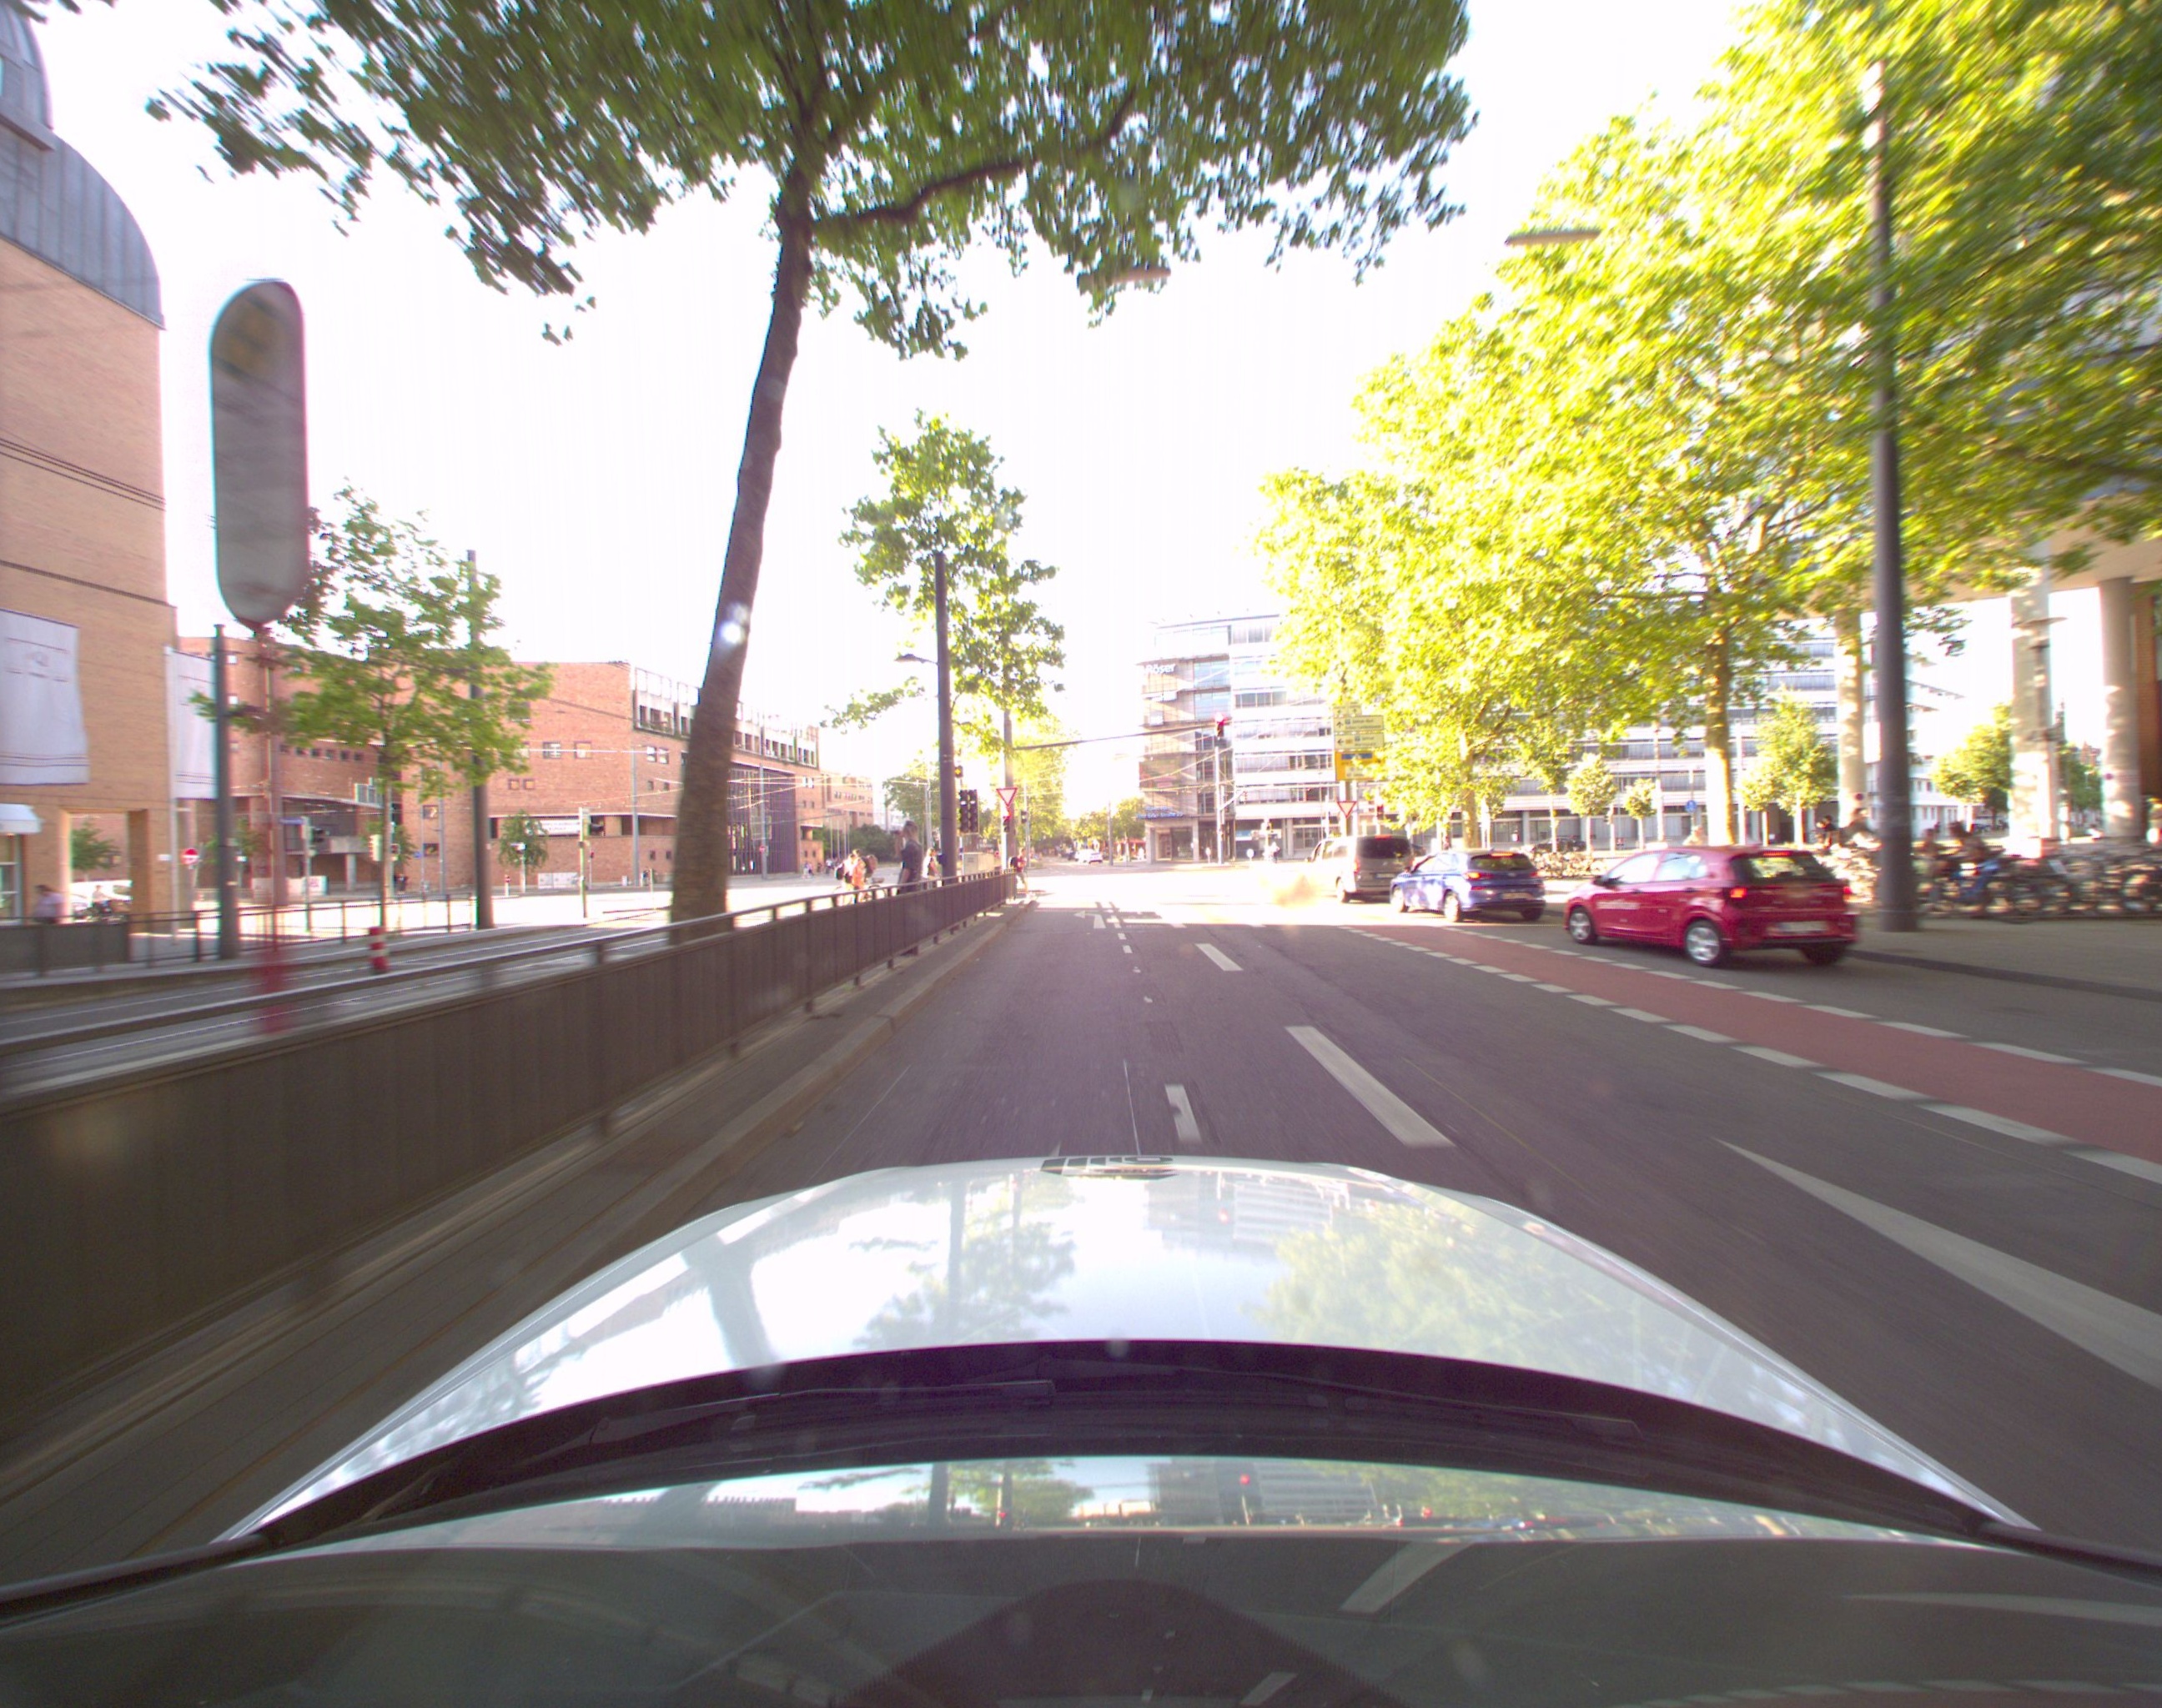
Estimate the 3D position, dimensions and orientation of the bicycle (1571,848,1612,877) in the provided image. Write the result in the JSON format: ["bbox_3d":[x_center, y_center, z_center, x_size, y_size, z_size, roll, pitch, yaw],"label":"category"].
[{"bbox_3d":[18.279,0.301,29.183,0.449,0.982,1.475,-2,0,-2],"label":"bicycle"}]

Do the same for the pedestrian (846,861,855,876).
[{"bbox_3d":[-23.671,1.472,83.592,0.754,1.530,0.506,-1,0,-8],"label":"pedestrian"}]

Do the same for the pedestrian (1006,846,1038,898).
[{"bbox_3d":[-2.011,0.611,27.758,1.071,1.715,0.627,-1,-1,-4],"label":"pedestrian"}]

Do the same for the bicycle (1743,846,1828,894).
[{"bbox_3d":[15.819,0.347,18.329,0.459,1.026,1.570,-2,0,-3],"label":"bicycle"}]

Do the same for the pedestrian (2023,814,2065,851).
[{"bbox_3d":[38.448,-0.858,32.514,0.702,1.442,0.776,-2,0,2],"label":"pedestrian"}]

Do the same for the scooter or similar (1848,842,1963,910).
[{"bbox_3d":[14.533,0.393,14.373,1.255,1.142,0.912,1,-2,-14],"label":"scooter or similar"}]

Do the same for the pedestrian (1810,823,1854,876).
[{"bbox_3d":[26.176,-0.147,28.387,0.850,1.820,0.860,-1,0,-28],"label":"pedestrian"}]

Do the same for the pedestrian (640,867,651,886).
[{"bbox_3d":[-37.258,1.934,69.602,0.538,1.613,0.575,-2,0,30],"label":"pedestrian"}]

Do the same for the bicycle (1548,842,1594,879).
[{"bbox_3d":[17.540,0.230,29.194,0.449,1.286,1.886,-2,0,-2],"label":"bicycle"}]

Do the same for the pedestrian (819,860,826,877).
[{"bbox_3d":[-25.591,1.469,80.562,0.538,1.650,0.621,-2,0,-20],"label":"pedestrian"}]

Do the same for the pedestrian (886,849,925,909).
[{"bbox_3d":[-5.661,0.796,26.264,1.144,1.893,0.831,-1,-1,-8],"label":"pedestrian"}]

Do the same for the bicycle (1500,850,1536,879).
[{"bbox_3d":[15.514,0.369,28.942,0.419,0.979,1.475,-2,0,-2],"label":"bicycle"}]

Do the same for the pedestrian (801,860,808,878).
[{"bbox_3d":[-27.005,1.471,79.520,0.538,1.650,0.621,-2,0,-20],"label":"pedestrian"}]

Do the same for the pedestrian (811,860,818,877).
[{"bbox_3d":[-26.307,1.467,80.314,0.538,1.650,0.621,-2,0,-20],"label":"pedestrian"}]

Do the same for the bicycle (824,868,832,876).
[{"bbox_3d":[-27.128,1.926,87.214,0.512,0.881,1.834,-2,0,-8],"label":"bicycle"}]

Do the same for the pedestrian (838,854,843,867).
[{"bbox_3d":[-33.732,0.963,114.280,0.519,1.779,0.546,-2,0,6],"label":"pedestrian"}]

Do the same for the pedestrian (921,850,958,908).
[{"bbox_3d":[-4.463,0.780,25.756,1.071,1.806,0.756,-1,-1,-8],"label":"pedestrian"}]

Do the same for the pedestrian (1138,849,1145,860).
[{"bbox_3d":[7.659,0.054,103.172,0.737,1.465,0.536,-2,0,-3],"label":"pedestrian"}]

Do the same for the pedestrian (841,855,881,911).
[{"bbox_3d":[-6.831,0.888,25.314,1.072,1.682,0.756,-1,-1,-8],"label":"pedestrian"}]

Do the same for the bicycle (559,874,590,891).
[{"bbox_3d":[-42.226,2.382,67.899,0.447,1.239,2.110,-3,0,39],"label":"bicycle"}]

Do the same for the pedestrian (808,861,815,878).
[{"bbox_3d":[-26.890,1.520,81.239,0.538,1.650,0.621,-2,0,-20],"label":"pedestrian"}]

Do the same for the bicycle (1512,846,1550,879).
[{"bbox_3d":[16.052,0.303,29.074,0.449,1.144,1.475,-2,0,-2],"label":"bicycle"}]

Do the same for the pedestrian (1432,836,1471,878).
[{"bbox_3d":[16.224,0.124,35.707,1.207,1.822,1.040,0,-1,-6],"label":"pedestrian"}]

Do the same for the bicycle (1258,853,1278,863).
[{"bbox_3d":[17.324,0.372,75.303,1.733,0.899,0.409,-2,0,4],"label":"bicycle"}]

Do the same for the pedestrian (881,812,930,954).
[{"bbox_3d":[-2.437,0.393,11.360,0.508,1.900,0.760,0,-1,0],"label":"pedestrian"}]

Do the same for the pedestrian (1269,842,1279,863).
[{"bbox_3d":[15.451,-0.087,65.247,0.716,1.681,0.558,-1,0,6],"label":"pedestrian"}]

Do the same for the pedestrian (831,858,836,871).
[{"bbox_3d":[-34.701,1.496,114.300,0.487,1.810,0.546,-2,0,6],"label":"pedestrian"}]

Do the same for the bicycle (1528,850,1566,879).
[{"bbox_3d":[16.714,0.377,29.249,0.449,0.982,1.475,-2,0,-2],"label":"bicycle"}]

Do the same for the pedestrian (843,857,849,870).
[{"bbox_3d":[-33.398,1.327,115.666,0.638,1.810,0.546,-2,0,6],"label":"pedestrian"}]

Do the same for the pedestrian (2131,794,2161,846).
[{"bbox_3d":[34.199,-1.085,25.871,0.772,1.641,0.706,-2,0,-5],"label":"pedestrian"}]

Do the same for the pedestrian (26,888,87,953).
[{"bbox_3d":[-25.616,1.650,20.375,0.588,1.584,0.725,0,0,-2],"label":"pedestrian"}]

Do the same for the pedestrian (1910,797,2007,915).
[{"bbox_3d":[13.692,0.039,12.736,0.798,1.786,0.661,-2,0,26],"label":"pedestrian"}]

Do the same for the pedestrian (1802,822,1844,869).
[{"bbox_3d":[27.095,-0.312,29.747,0.850,1.681,0.860,-1,0,-26],"label":"pedestrian"}]

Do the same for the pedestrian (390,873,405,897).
[{"bbox_3d":[-47.275,2.159,56.351,0.542,1.613,0.613,0,1,-6],"label":"pedestrian"}]

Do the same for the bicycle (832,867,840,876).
[{"bbox_3d":[-26.319,1.875,87.535,0.512,0.881,1.834,-2,0,-8],"label":"bicycle"}]

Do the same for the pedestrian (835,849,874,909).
[{"bbox_3d":[-7.234,0.782,26.022,1.072,1.871,0.737,-1,-1,-8],"label":"pedestrian"}]

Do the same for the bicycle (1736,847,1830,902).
[{"bbox_3d":[14.233,0.391,16.563,0.624,1.057,1.574,-2,0,5],"label":"bicycle"}]

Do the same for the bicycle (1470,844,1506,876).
[{"bbox_3d":[14.545,0.211,29.120,0.487,1.093,1.475,-2,0,-2],"label":"bicycle"}]
